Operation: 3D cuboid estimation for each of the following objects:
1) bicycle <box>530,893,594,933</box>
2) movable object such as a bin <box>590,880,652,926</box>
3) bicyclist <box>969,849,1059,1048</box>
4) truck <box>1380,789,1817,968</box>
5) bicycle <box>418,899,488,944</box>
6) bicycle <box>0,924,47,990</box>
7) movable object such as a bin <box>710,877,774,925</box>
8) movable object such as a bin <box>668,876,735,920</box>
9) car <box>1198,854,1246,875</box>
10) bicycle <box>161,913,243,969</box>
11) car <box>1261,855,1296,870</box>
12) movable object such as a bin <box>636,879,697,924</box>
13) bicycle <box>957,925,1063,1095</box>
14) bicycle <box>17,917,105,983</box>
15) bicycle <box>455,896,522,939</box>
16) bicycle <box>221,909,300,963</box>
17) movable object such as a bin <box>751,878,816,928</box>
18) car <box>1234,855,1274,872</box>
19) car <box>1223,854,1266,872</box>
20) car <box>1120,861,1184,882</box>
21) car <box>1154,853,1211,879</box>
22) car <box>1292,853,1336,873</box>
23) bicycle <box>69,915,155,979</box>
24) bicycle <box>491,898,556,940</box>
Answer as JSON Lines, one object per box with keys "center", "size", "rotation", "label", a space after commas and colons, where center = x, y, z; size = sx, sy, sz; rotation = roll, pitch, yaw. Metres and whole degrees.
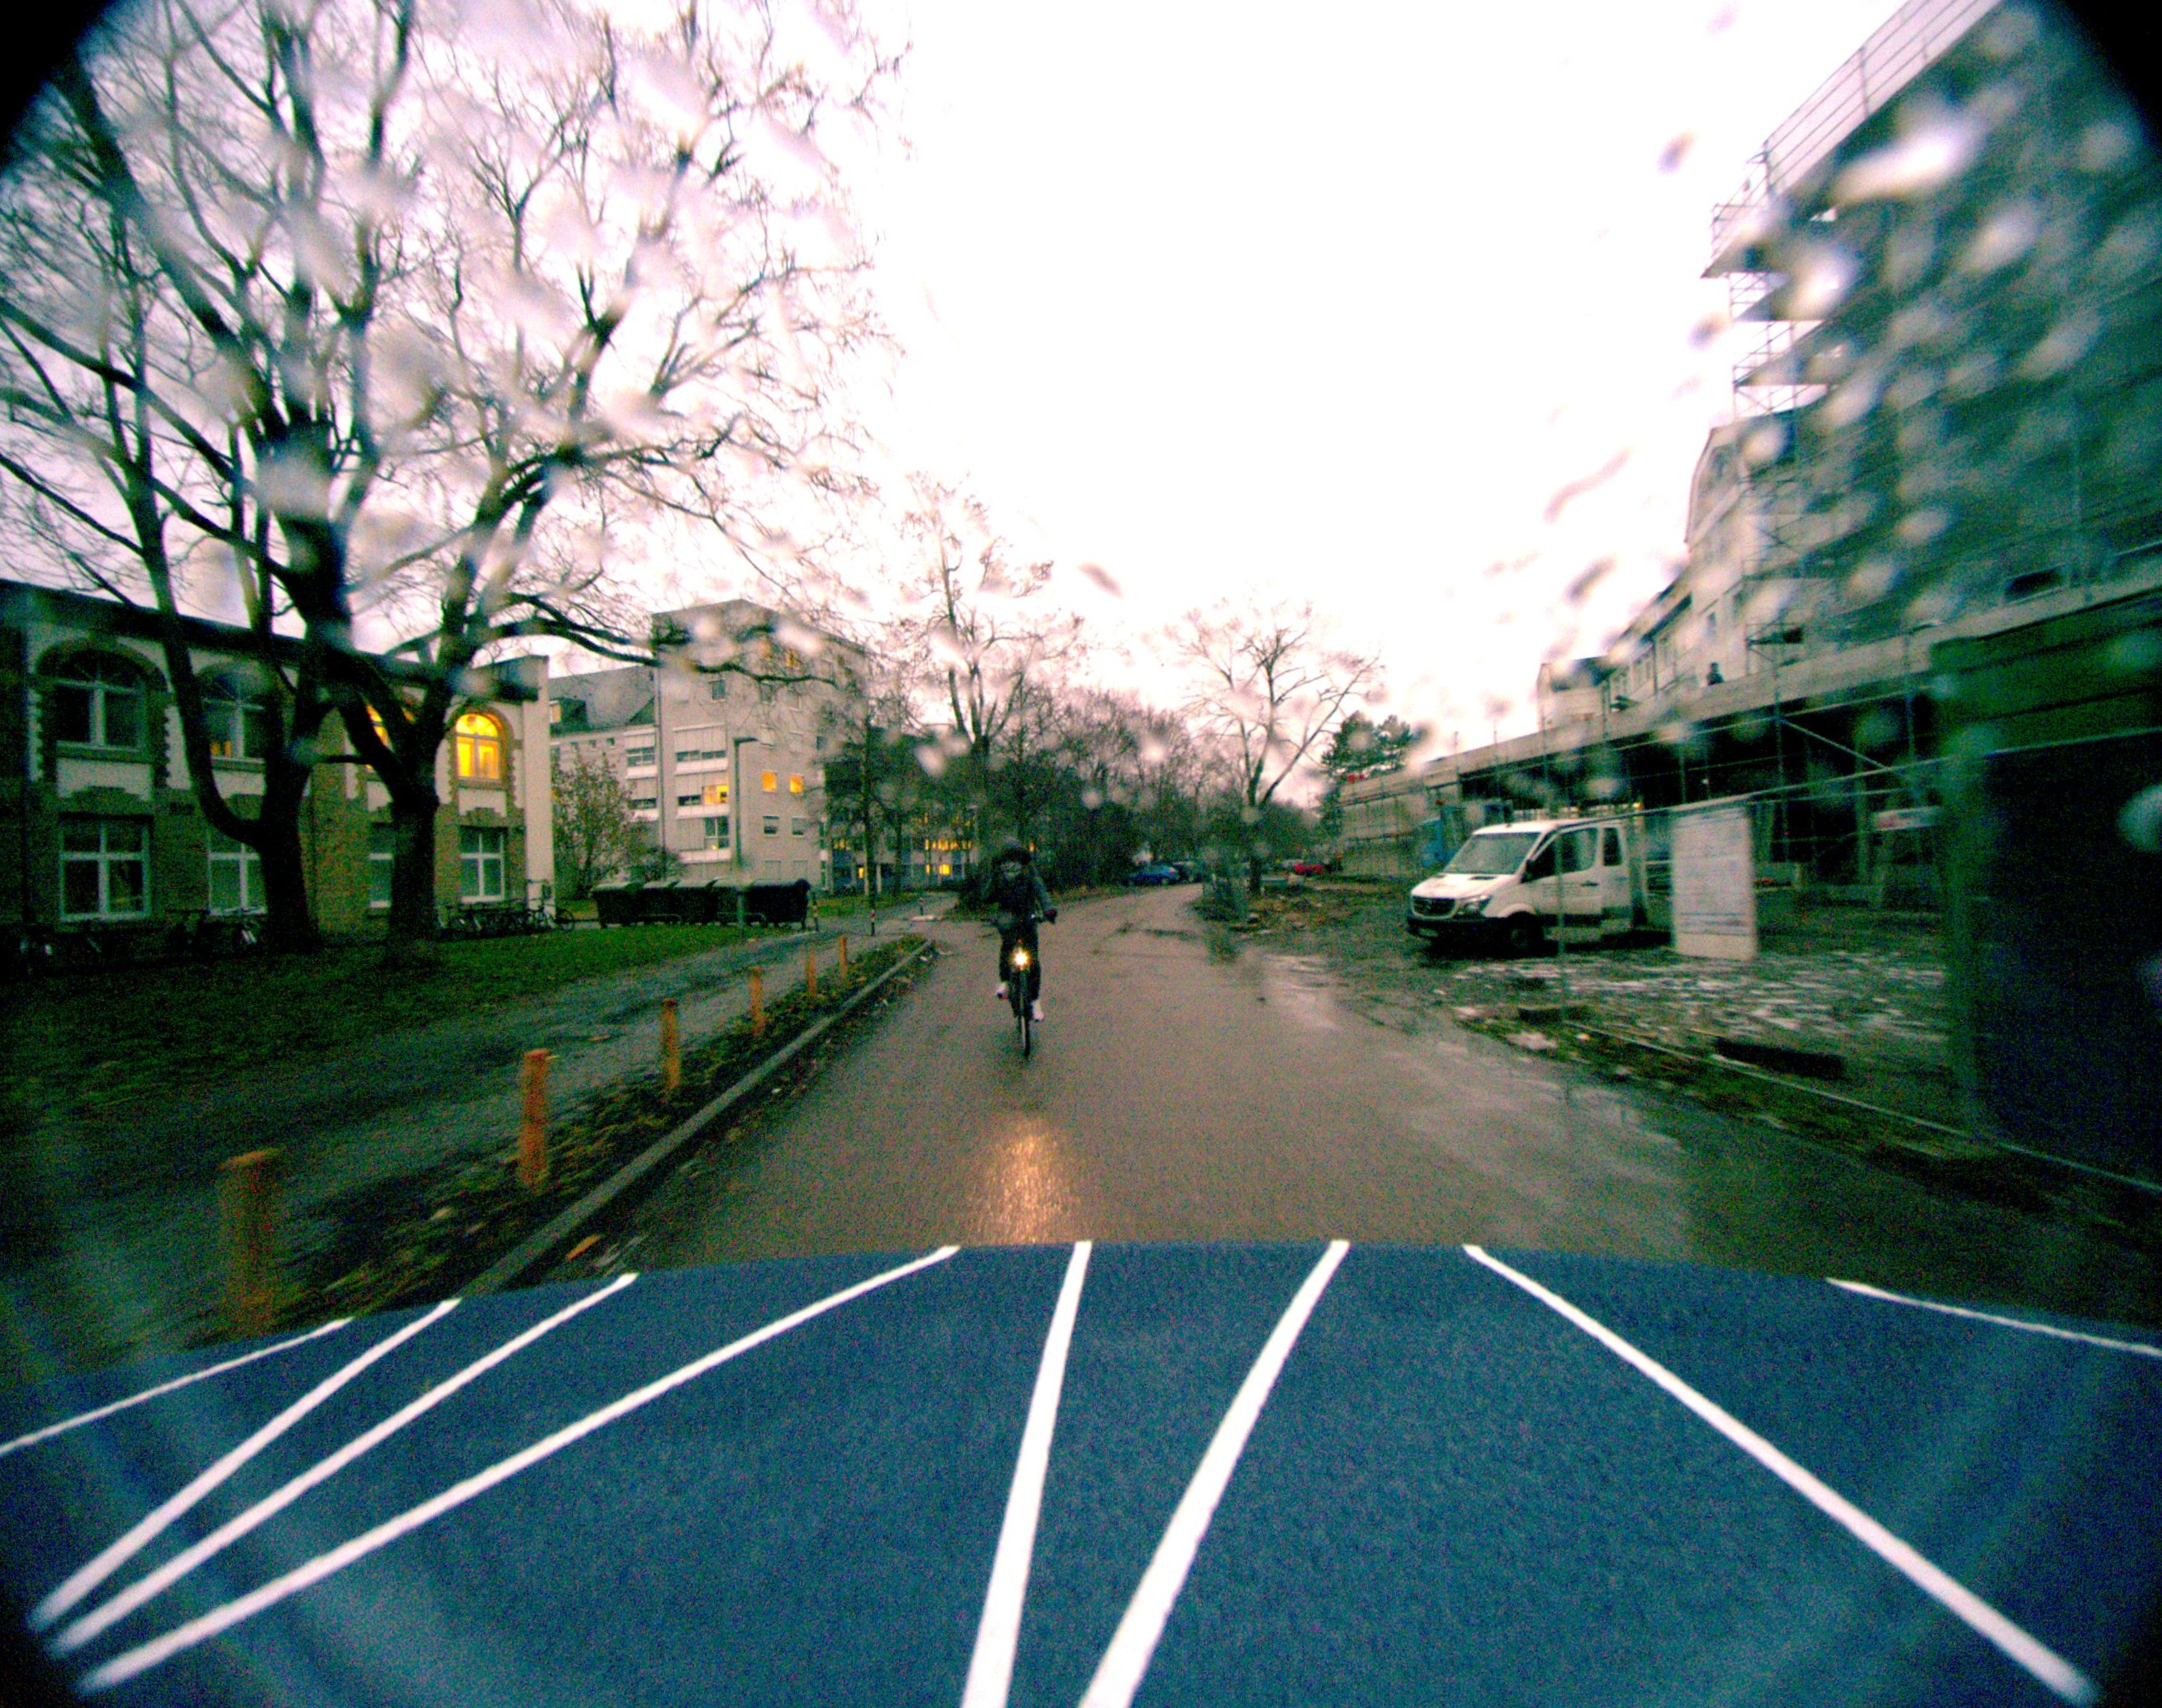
{"center": [-15.841, 1.795, 23.188], "size": [2.136, 1.150, 0.574], "rotation": [-1, 0, 25], "label": "bicycle"}
{"center": [-13.852, 1.477, 22.916], "size": [1.261, 1.306, 0.989], "rotation": [-1, 0, 18], "label": "movable object such as a bin"}
{"center": [-0.580, 0.807, 6.852], "size": [0.706, 1.679, 0.771], "rotation": [-1, 0, 0], "label": "bicyclist"}
{"center": [9.236, 0.334, 13.672], "size": [7.083, 2.573, 2.130], "rotation": [-3, 0, -12], "label": "truck"}
{"center": [-17.029, 1.812, 20.591], "size": [2.136, 1.150, 0.574], "rotation": [-1, 0, 25], "label": "bicycle"}
{"center": [-19.846, 1.873, 13.972], "size": [2.136, 1.011, 0.574], "rotation": [1, 1, 25], "label": "bicycle"}
{"center": [-9.617, 1.329, 21.597], "size": [1.305, 1.306, 0.989], "rotation": [-1, 0, 18], "label": "movable object such as a bin"}
{"center": [-11.059, 1.282, 22.141], "size": [1.435, 1.218, 0.989], "rotation": [-1, 0, 18], "label": "movable object such as a bin"}
{"center": [12.919, 0.943, 69.712], "size": [3.990, 1.785, 1.805], "rotation": [-1, 0, 25], "label": "car"}
{"center": [-18.859, 1.849, 16.293], "size": [2.136, 1.086, 0.574], "rotation": [-1, 0, 25], "label": "bicycle"}
{"center": [24.968, 1.038, 96.125], "size": [3.990, 1.785, 1.805], "rotation": [-1, 0, 25], "label": "car"}
{"center": [-12.392, 1.424, 22.725], "size": [1.249, 1.272, 0.989], "rotation": [-1, 0, 18], "label": "movable object such as a bin"}
{"center": [-0.571, 1.289, 6.808], "size": [0.730, 1.126, 1.894], "rotation": [-1, 0, 0], "label": "bicycle"}
{"center": [-19.564, 1.809, 14.565], "size": [2.136, 1.150, 0.574], "rotation": [-1, 0, 25], "label": "bicycle"}
{"center": [-16.707, 1.776, 21.422], "size": [2.136, 1.150, 0.574], "rotation": [-1, 0, 25], "label": "bicycle"}
{"center": [-18.514, 1.832, 17.140], "size": [2.136, 1.104, 0.574], "rotation": [-1, 0, 25], "label": "bicycle"}
{"center": [-8.265, 1.346, 21.147], "size": [1.322, 1.309, 1.064], "rotation": [0, 1, 6], "label": "movable object such as a bin"}
{"center": [19.626, 1.040, 86.178], "size": [3.990, 1.785, 1.805], "rotation": [-1, 0, 25], "label": "car"}
{"center": [16.938, 0.953, 78.848], "size": [3.990, 1.785, 1.805], "rotation": [-1, 0, 25], "label": "car"}
{"center": [5.158, 1.291, 55.021], "size": [4.171, 1.468, 2.004], "rotation": [-1, -3, 22], "label": "car"}
{"center": [8.064, 0.975, 60.243], "size": [3.990, 1.980, 2.003], "rotation": [-1, 0, 25], "label": "car"}
{"center": [18.777, 0.684, 61.192], "size": [3.302, 1.514, 1.707], "rotation": [-1, 0, 21], "label": "car"}
{"center": [-19.313, 1.823, 15.134], "size": [2.136, 1.150, 0.574], "rotation": [-1, 0, 25], "label": "bicycle"}
{"center": [-16.428, 1.889, 22.380], "size": [2.136, 1.150, 0.574], "rotation": [-1, 0, 25], "label": "bicycle"}
